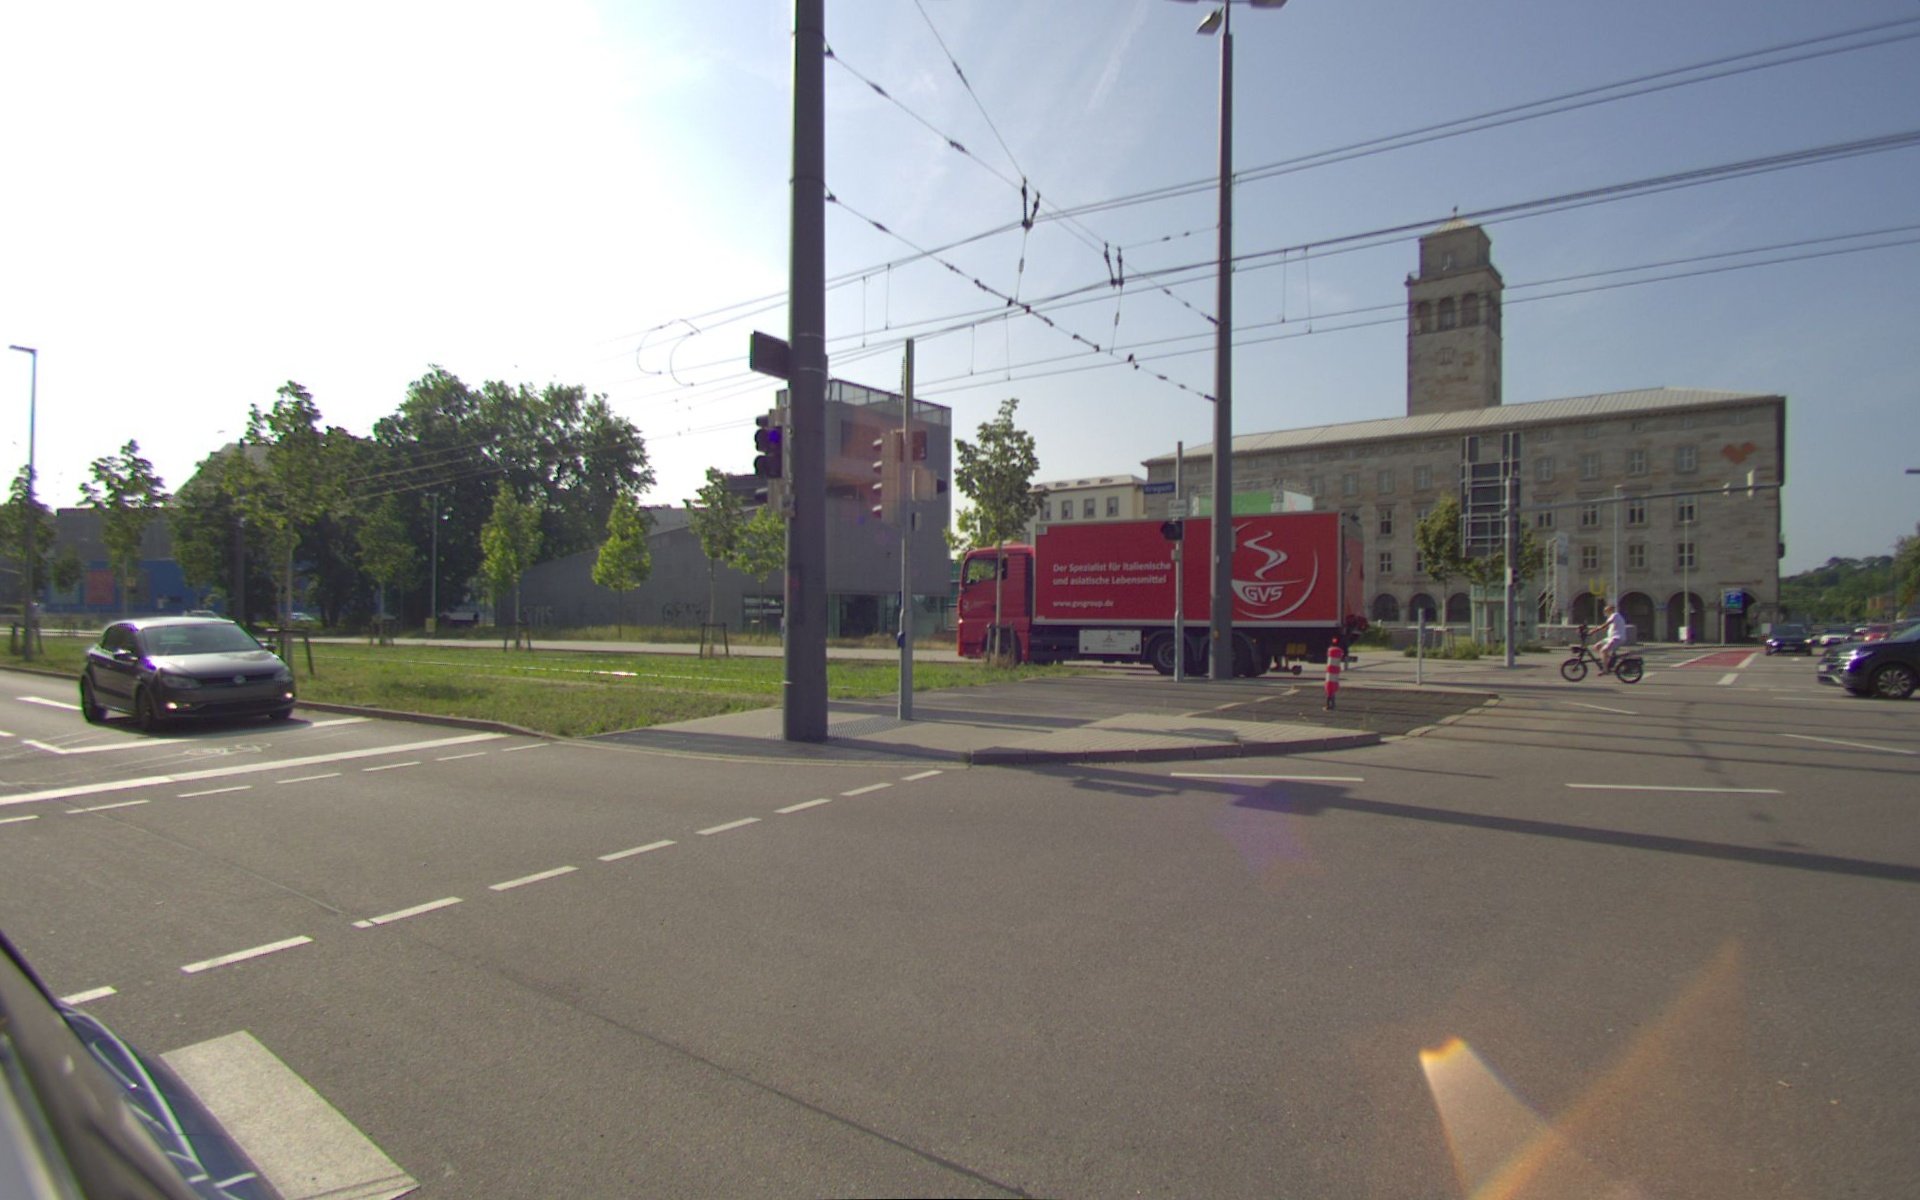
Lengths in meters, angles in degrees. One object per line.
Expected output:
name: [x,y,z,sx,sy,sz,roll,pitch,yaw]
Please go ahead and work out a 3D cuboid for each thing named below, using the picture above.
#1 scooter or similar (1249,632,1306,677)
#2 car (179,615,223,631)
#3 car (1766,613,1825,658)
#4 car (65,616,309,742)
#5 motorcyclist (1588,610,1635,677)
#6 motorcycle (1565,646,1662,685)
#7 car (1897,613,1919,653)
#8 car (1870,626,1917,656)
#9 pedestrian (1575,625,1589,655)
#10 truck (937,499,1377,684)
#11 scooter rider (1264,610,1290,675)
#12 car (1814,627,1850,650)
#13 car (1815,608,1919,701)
scooter or similar: [8.504,1.452,27.090,1.378,1.155,0.535,-1,-1,31]
car: [-82.636,2.497,110.178,4.801,1.781,2.000,-1,-1,28]
car: [39.763,1.640,48.138,1.999,2.029,3.945,-1,-1,42]
car: [-10.766,0.988,14.027,3.863,1.443,1.688,-1,1,37]
motorcyclist: [15.034,0.997,23.360,0.857,1.539,0.388,-1,-2,29]
motorcycle: [15.051,1.507,23.357,1.814,0.839,0.515,-1,-1,29]
car: [34.545,1.139,35.638,1.706,1.391,3.611,-1,-1,34]
car: [51.644,2.250,56.027,1.833,1.518,3.962,-1,-1,42]
pedestrian: [36.534,2.324,59.465,0.575,1.744,0.643,-1,-1,24]
truck: [4.526,-0.113,25.083,10.392,3.838,2.948,-1,-1,33]
scooter rider: [8.489,1.125,27.110,0.548,1.711,0.533,-1,-1,31]
car: [69.022,2.995,80.193,1.910,1.730,4.053,-1,-1,38]
car: [17.772,0.938,17.708,3.982,1.613,1.629,-1,-1,29]
